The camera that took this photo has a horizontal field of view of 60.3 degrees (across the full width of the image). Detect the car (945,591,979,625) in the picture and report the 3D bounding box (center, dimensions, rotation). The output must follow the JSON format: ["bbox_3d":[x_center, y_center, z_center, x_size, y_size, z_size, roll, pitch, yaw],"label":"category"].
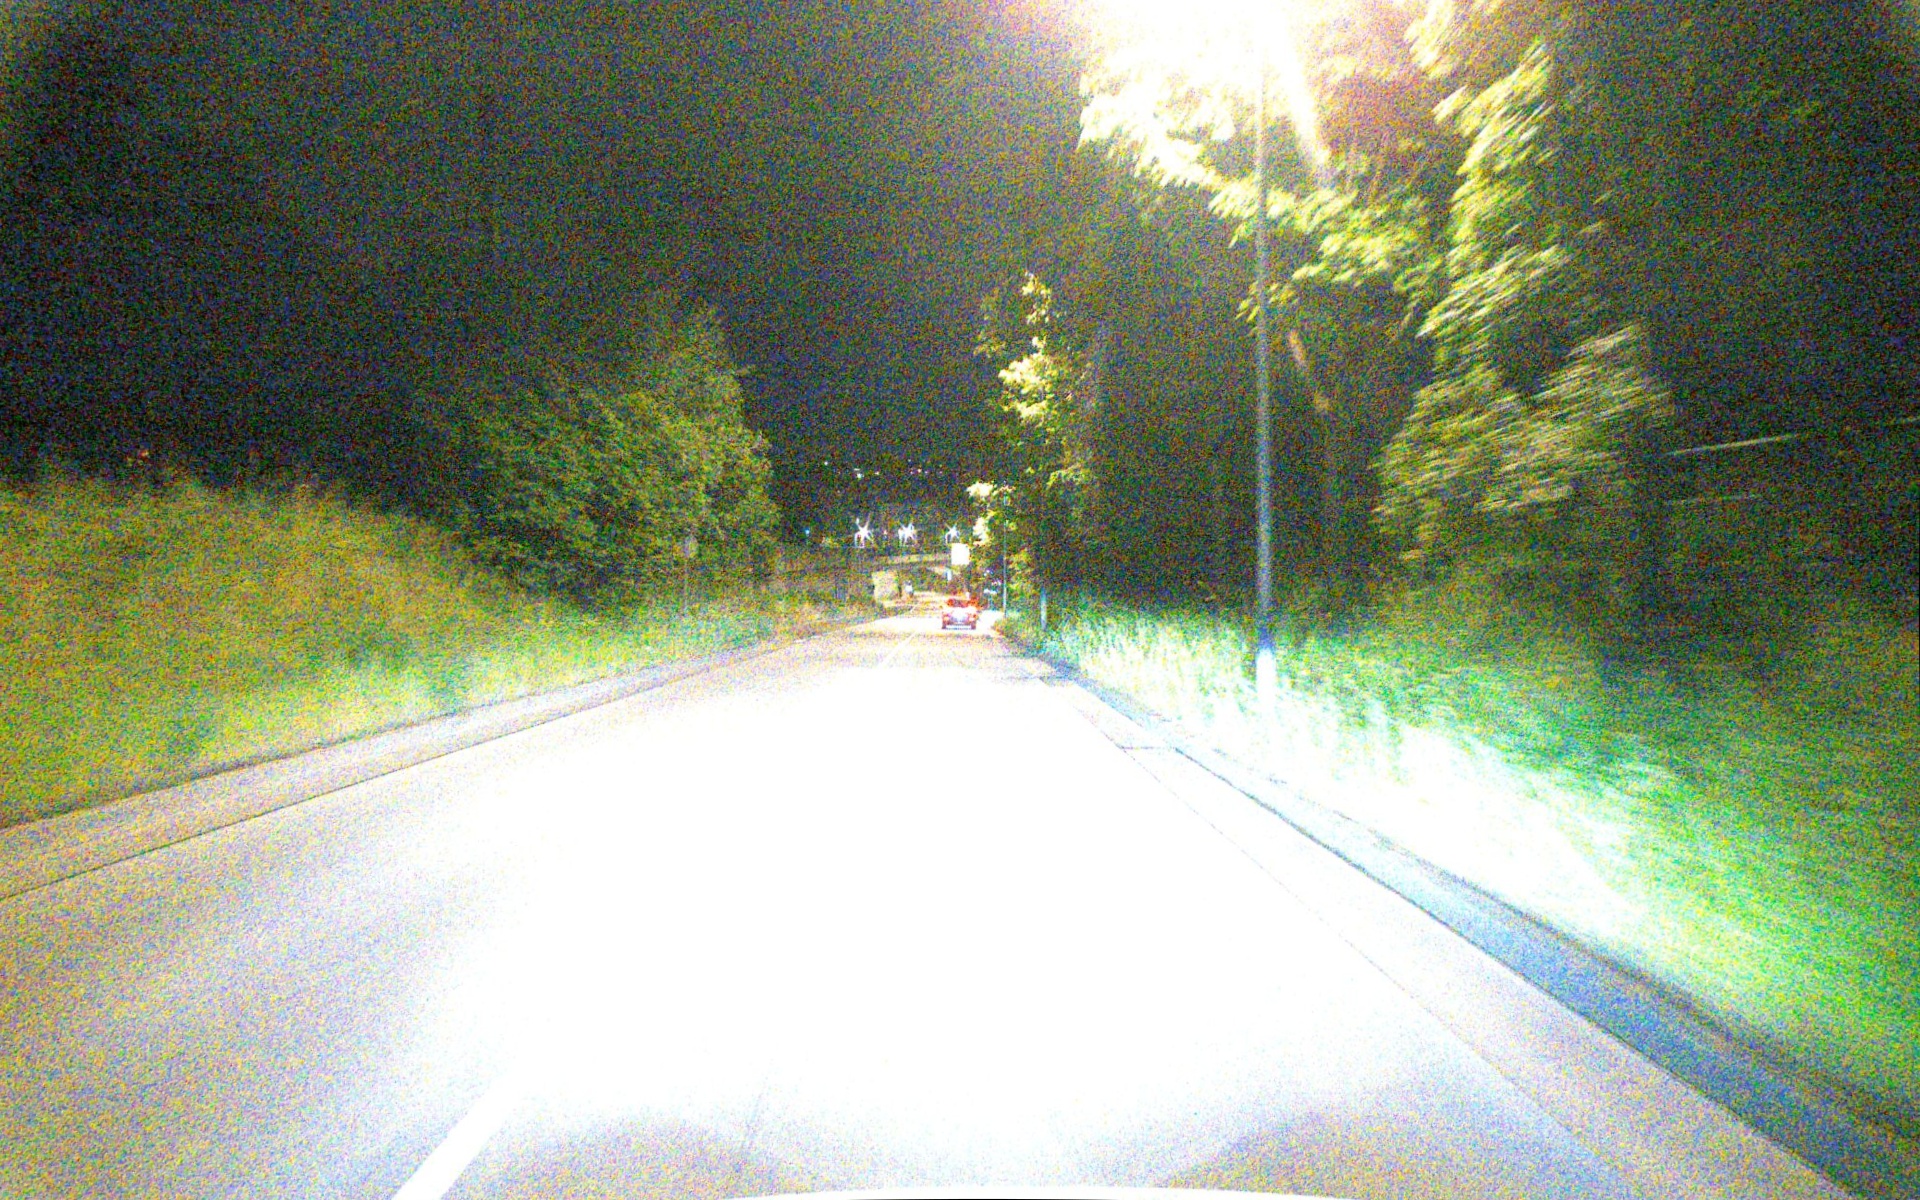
[{"bbox_3d":[0.125,0.413,85.540,1.727,1.670,3.723,1,1,1],"label":"car"}]
